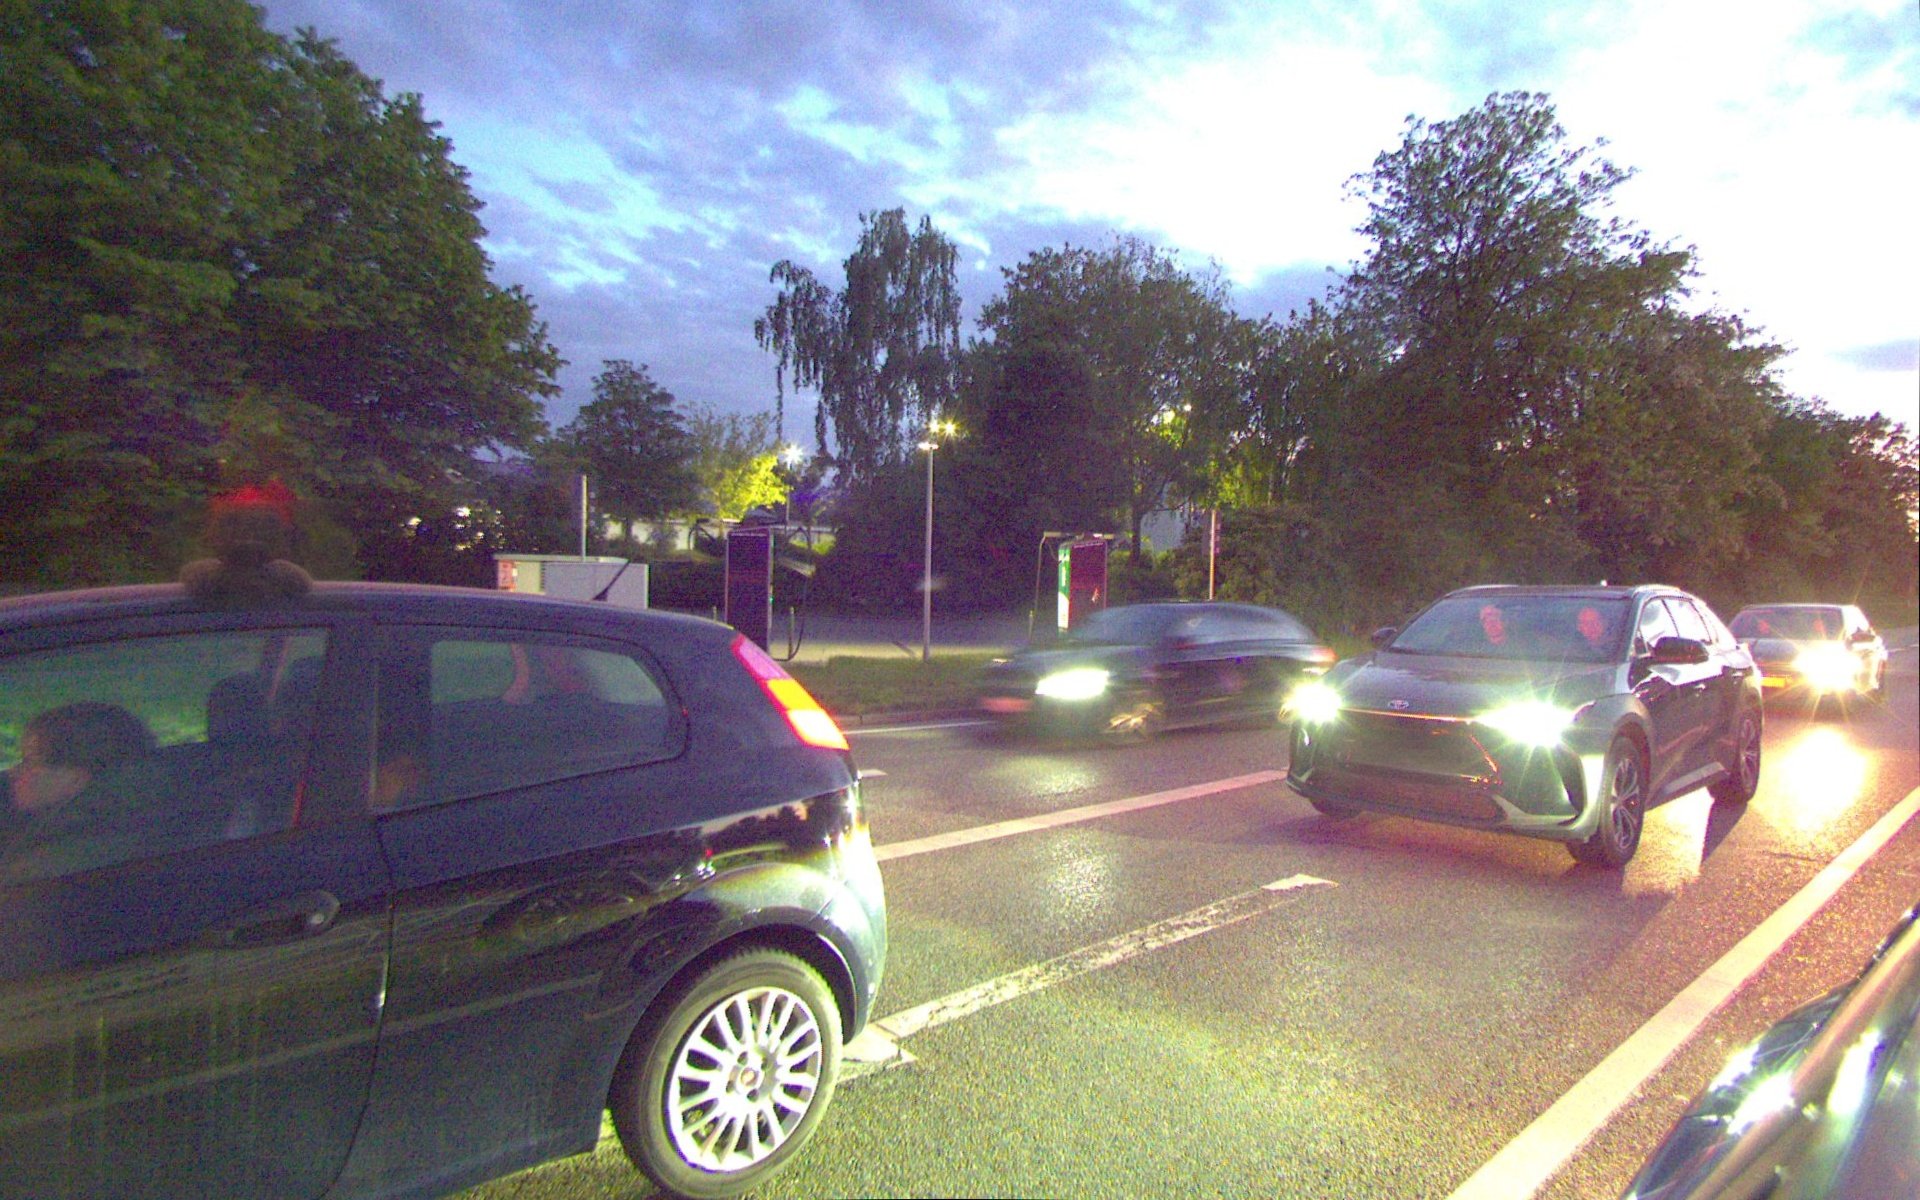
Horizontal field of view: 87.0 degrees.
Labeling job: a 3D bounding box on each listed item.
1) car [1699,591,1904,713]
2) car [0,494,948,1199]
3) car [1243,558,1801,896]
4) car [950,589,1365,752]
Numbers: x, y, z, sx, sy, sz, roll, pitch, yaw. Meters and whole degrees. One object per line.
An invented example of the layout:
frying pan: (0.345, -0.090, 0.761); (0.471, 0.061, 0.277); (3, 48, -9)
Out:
car: (11.891, 0.626, 14.224); (3.803, 1.487, 1.622); (0, 0, -41)
car: (-2.115, 0.594, 2.146); (4.032, 1.540, 1.674); (0, 1, -39)
car: (4.187, 0.599, 7.158); (4.629, 1.630, 1.997); (0, 0, -41)
car: (2.320, 0.632, 11.230); (4.615, 1.450, 1.924); (0, 1, -37)
